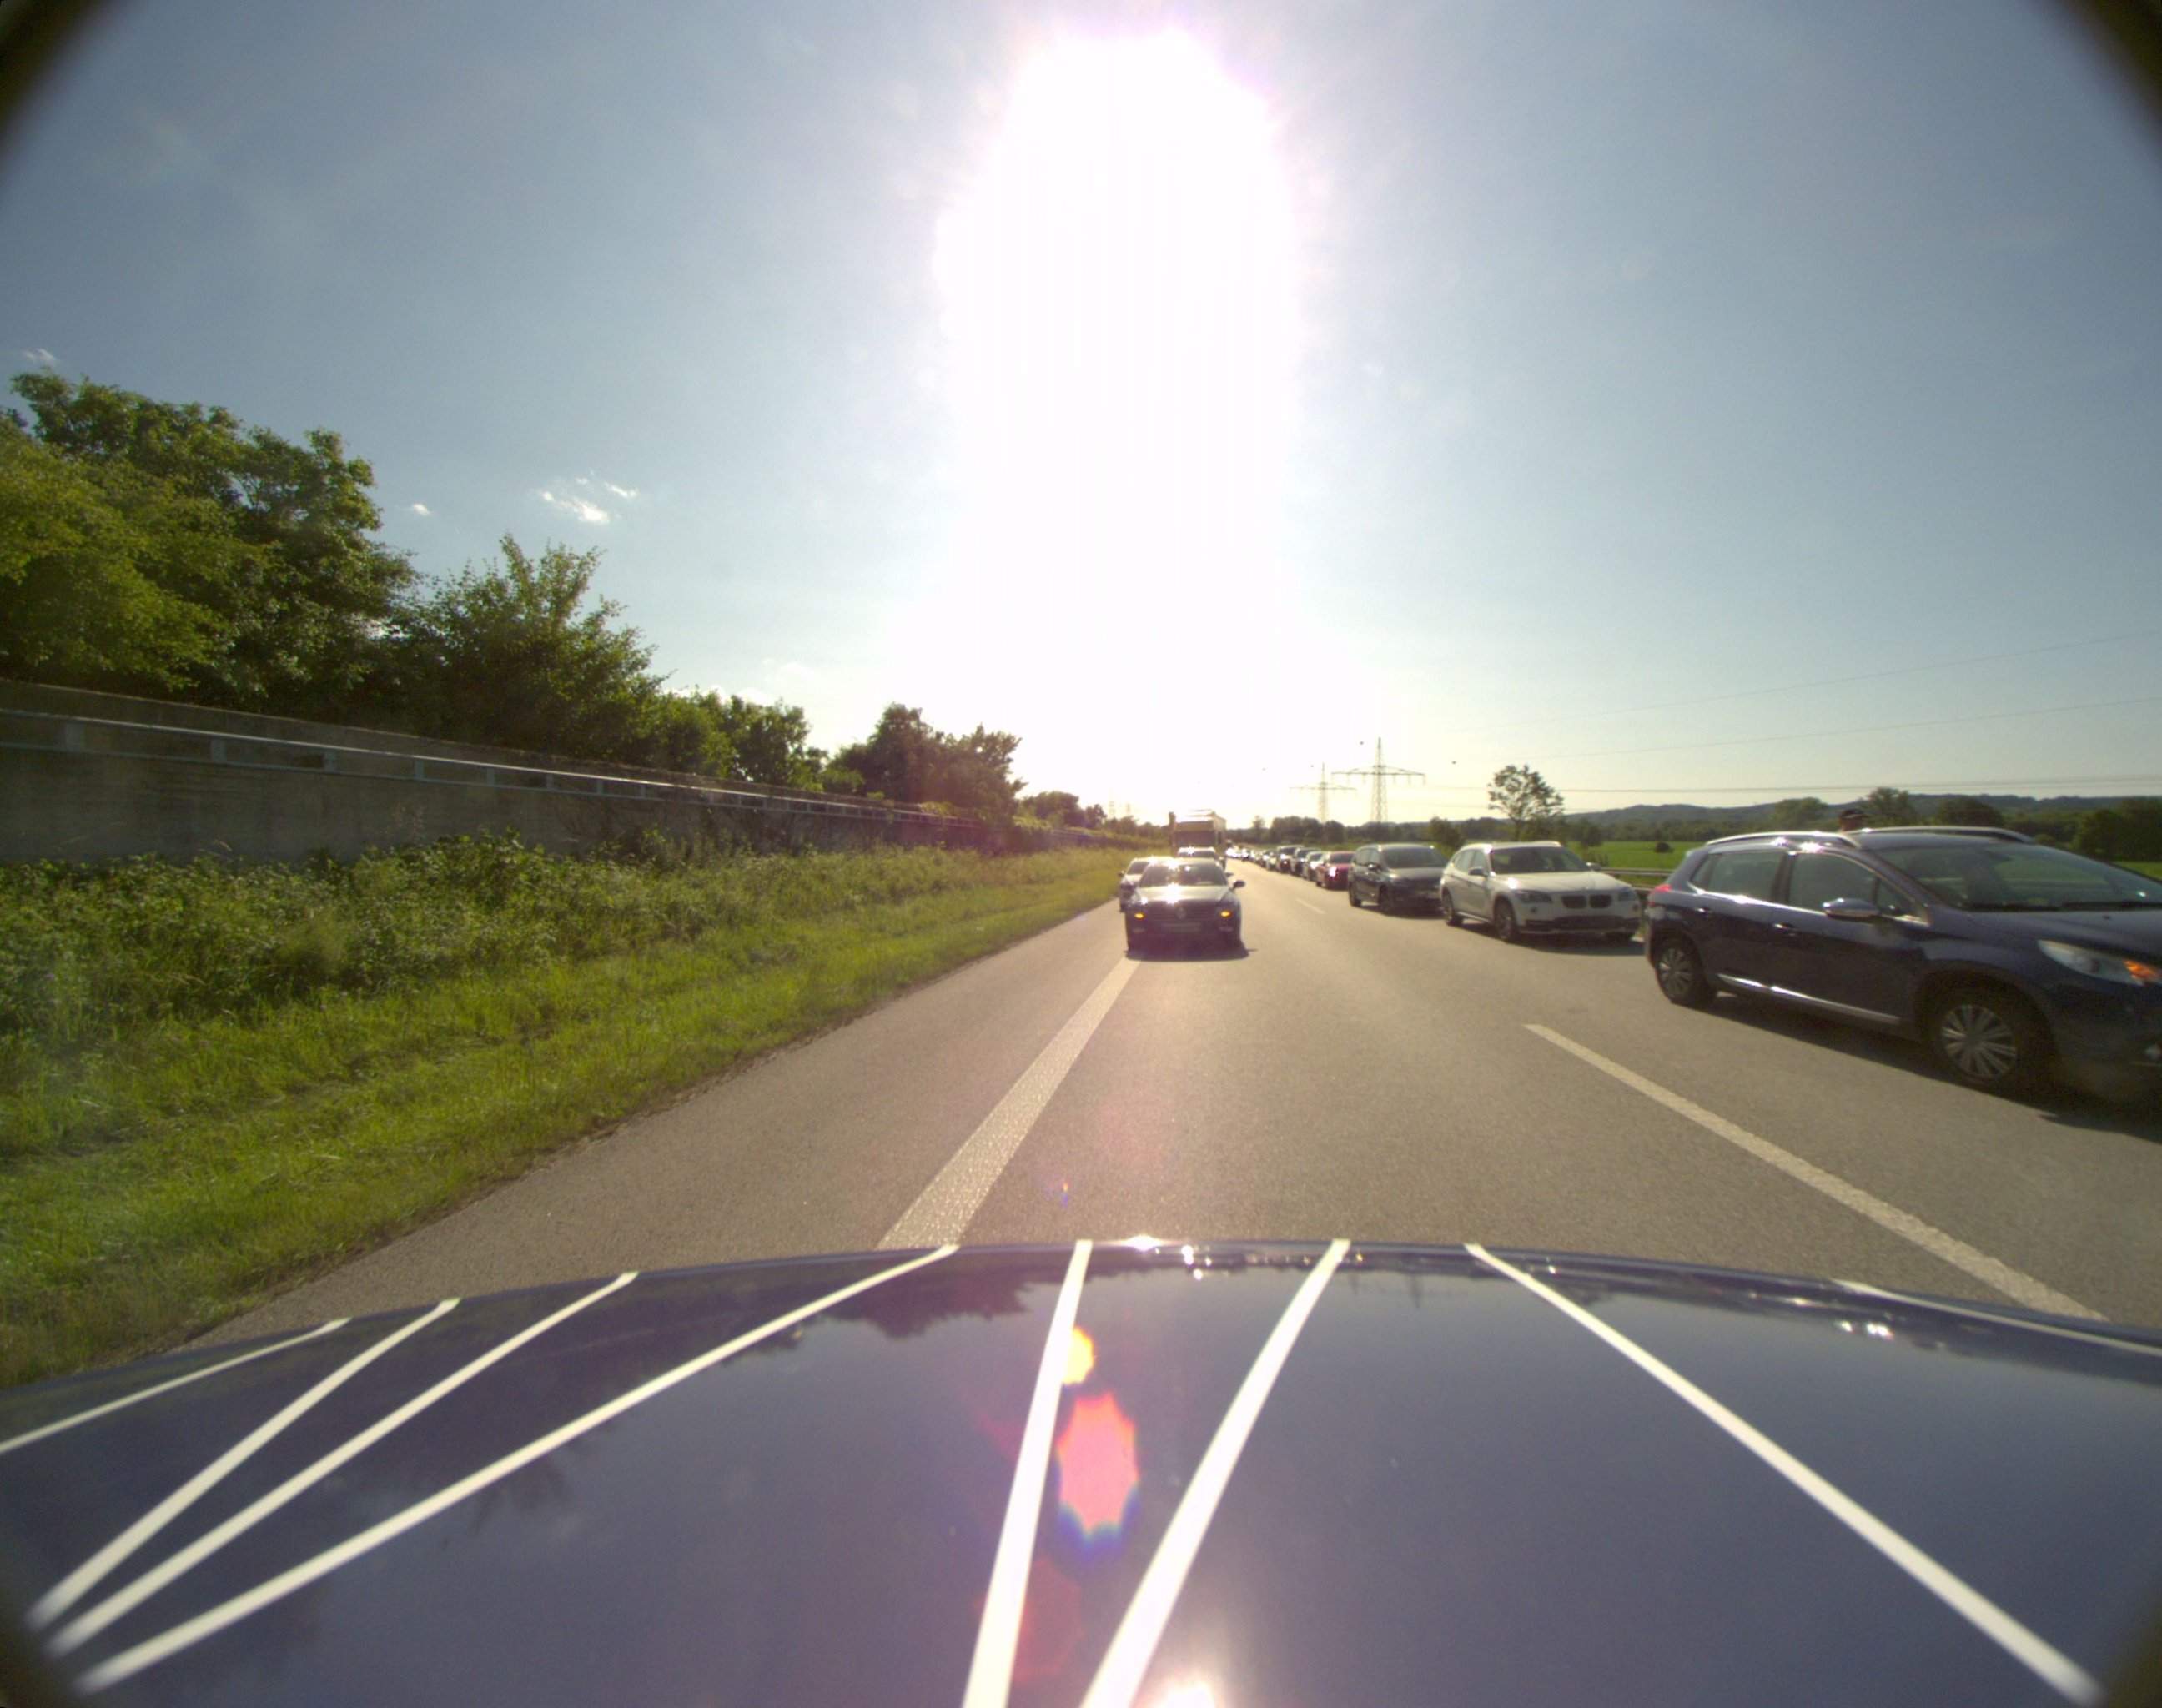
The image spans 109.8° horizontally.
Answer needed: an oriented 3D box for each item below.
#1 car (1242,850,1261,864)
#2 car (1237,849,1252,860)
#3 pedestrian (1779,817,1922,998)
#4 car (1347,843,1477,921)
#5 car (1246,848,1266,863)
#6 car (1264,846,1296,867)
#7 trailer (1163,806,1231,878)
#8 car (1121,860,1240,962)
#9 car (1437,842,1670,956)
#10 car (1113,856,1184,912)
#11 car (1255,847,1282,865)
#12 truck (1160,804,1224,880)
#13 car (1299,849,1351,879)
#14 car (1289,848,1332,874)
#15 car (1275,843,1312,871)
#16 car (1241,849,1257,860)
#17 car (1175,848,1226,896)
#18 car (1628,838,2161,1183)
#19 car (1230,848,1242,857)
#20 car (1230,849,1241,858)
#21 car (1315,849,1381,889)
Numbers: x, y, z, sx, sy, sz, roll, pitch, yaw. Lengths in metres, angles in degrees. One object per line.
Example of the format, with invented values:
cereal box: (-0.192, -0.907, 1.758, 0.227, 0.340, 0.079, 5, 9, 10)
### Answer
car: (19.561, 0.329, 87.368, 1.818, 1.450, 4.120, -1, 0, 9)
car: (22.828, 0.037, 106.220, 1.818, 1.450, 4.120, -2, 0, 9)
pedestrian: (7.799, 0.512, 7.744, 0.672, 1.740, 0.815, -1, 1, 9)
car: (7.770, 0.589, 18.259, 1.818, 1.606, 4.120, -2, 0, 9)
car: (18.566, 0.162, 80.845, 1.818, 1.450, 4.120, -2, 0, 11)
car: (15.220, 0.162, 58.277, 1.997, 1.522, 4.002, -1, 0, 9)
trailer: (8.162, -0.833, 51.554, 3.384, 4.089, 13.964, -2, 1, 13)
car: (1.834, 0.872, 13.425, 1.715, 1.405, 4.328, -2, 0, 10)
car: (7.490, 0.617, 12.576, 1.831, 1.564, 4.166, -1, 0, 10)
car: (2.123, 0.831, 22.741, 1.715, 1.417, 4.328, -2, 0, 10)
car: (16.595, 0.169, 67.475, 1.997, 1.522, 4.002, -1, 0, 9)
truck: (6.778, -0.713, 45.599, 3.330, 4.089, 6.975, -2, 1, 11)
car: (12.233, 0.463, 38.354, 1.893, 1.390, 4.002, -1, 0, 9)
car: (13.322, 0.377, 44.350, 1.892, 1.447, 4.003, -1, 0, 10)
car: (14.276, 0.157, 51.158, 1.900, 1.777, 4.202, -1, 0, 9)
car: (21.635, 0.036, 97.871, 1.818, 1.450, 4.120, -1, 0, 10)
car: (4.580, 0.620, 28.889, 1.715, 1.614, 4.328, -2, 0, 10)
car: (5.986, 0.696, 5.348, 1.691, 1.526, 3.950, -3, 0, 6)
car: (25.817, -0.218, 126.388, 1.818, 1.450, 4.120, -2, 0, 11)
car: (26.740, -0.087, 131.964, 1.818, 1.450, 4.120, -1, 0, 11)
car: (10.384, 0.540, 29.832, 1.818, 1.450, 4.120, -1, 0, 11)
